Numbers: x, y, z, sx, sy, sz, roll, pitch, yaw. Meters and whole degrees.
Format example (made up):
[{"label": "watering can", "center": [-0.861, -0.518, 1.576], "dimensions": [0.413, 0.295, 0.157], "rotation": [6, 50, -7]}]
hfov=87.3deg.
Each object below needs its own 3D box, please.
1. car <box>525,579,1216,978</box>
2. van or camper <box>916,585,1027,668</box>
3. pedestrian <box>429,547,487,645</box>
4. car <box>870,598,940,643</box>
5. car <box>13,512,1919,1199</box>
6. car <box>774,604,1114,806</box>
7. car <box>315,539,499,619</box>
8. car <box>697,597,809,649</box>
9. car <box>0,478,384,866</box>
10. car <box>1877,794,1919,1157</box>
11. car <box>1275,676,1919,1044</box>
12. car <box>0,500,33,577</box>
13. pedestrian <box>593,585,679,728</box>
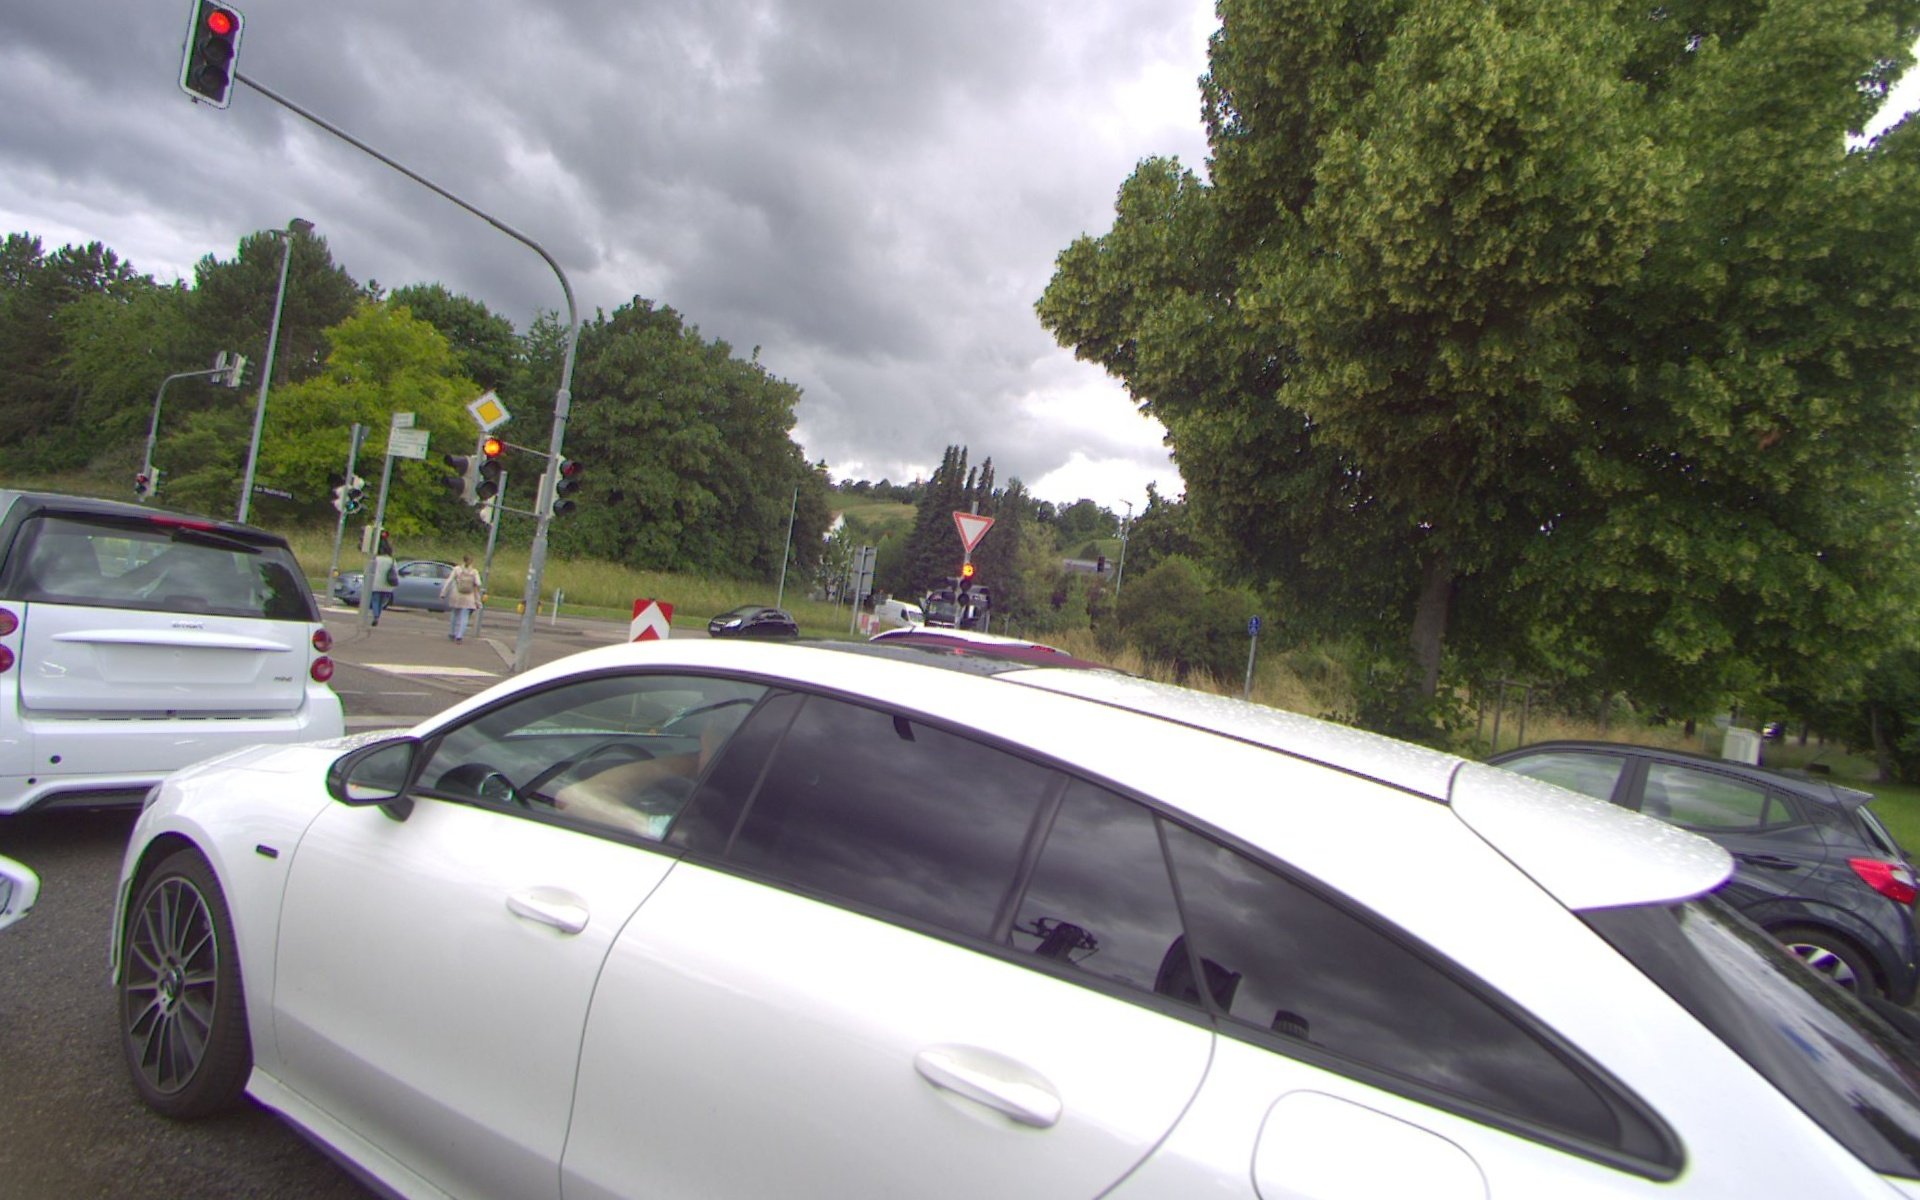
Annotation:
[{"label": "car", "center": [-0.670, 0.843, 6.155], "dimensions": [3.933, 1.420, 1.549], "rotation": [7, -1, 31]}, {"label": "van or camper", "center": [0.758, 1.517, 53.368], "dimensions": [2.704, 3.621, 7.272], "rotation": [6, -2, 27]}, {"label": "pedestrian", "center": [-8.924, -0.070, 17.888], "dimensions": [0.609, 1.653, 0.606], "rotation": [7, 0, -44]}, {"label": "car", "center": [-4.433, 1.617, 80.481], "dimensions": [2.173, 2.570, 5.703], "rotation": [9, 1, -41]}, {"label": "car", "center": [-0.381, 0.768, 2.539], "dimensions": [4.283, 1.438, 1.725], "rotation": [7, -1, 31]}, {"label": "car", "center": [-0.379, 1.136, 12.030], "dimensions": [1.696, 1.655, 4.199], "rotation": [11, -3, -38]}, {"label": "car", "center": [-15.419, -0.536, 28.234], "dimensions": [1.809, 1.620, 3.992], "rotation": [7, -2, 34]}, {"label": "car", "center": [-7.960, 0.916, 38.951], "dimensions": [1.662, 1.465, 3.988], "rotation": [6, -2, 38]}, {"label": "car", "center": [-4.528, 0.223, 5.162], "dimensions": [2.626, 1.522, 1.538], "rotation": [7, -1, 32]}, {"label": "car", "center": [5.271, 1.568, 2.409], "dimensions": [4.144, 1.452, 1.828], "rotation": [8, -1, 33]}, {"label": "car", "center": [4.309, 1.579, 7.013], "dimensions": [3.590, 1.451, 1.515], "rotation": [7, -5, 41]}, {"label": "car", "center": [-20.696, -1.500, 18.773], "dimensions": [1.964, 1.478, 4.507], "rotation": [7, -2, 24]}, {"label": "pedestrian", "center": [-3.491, 0.615, 10.857], "dimensions": [0.349, 1.470, 0.611], "rotation": [7, -1, 40]}]
